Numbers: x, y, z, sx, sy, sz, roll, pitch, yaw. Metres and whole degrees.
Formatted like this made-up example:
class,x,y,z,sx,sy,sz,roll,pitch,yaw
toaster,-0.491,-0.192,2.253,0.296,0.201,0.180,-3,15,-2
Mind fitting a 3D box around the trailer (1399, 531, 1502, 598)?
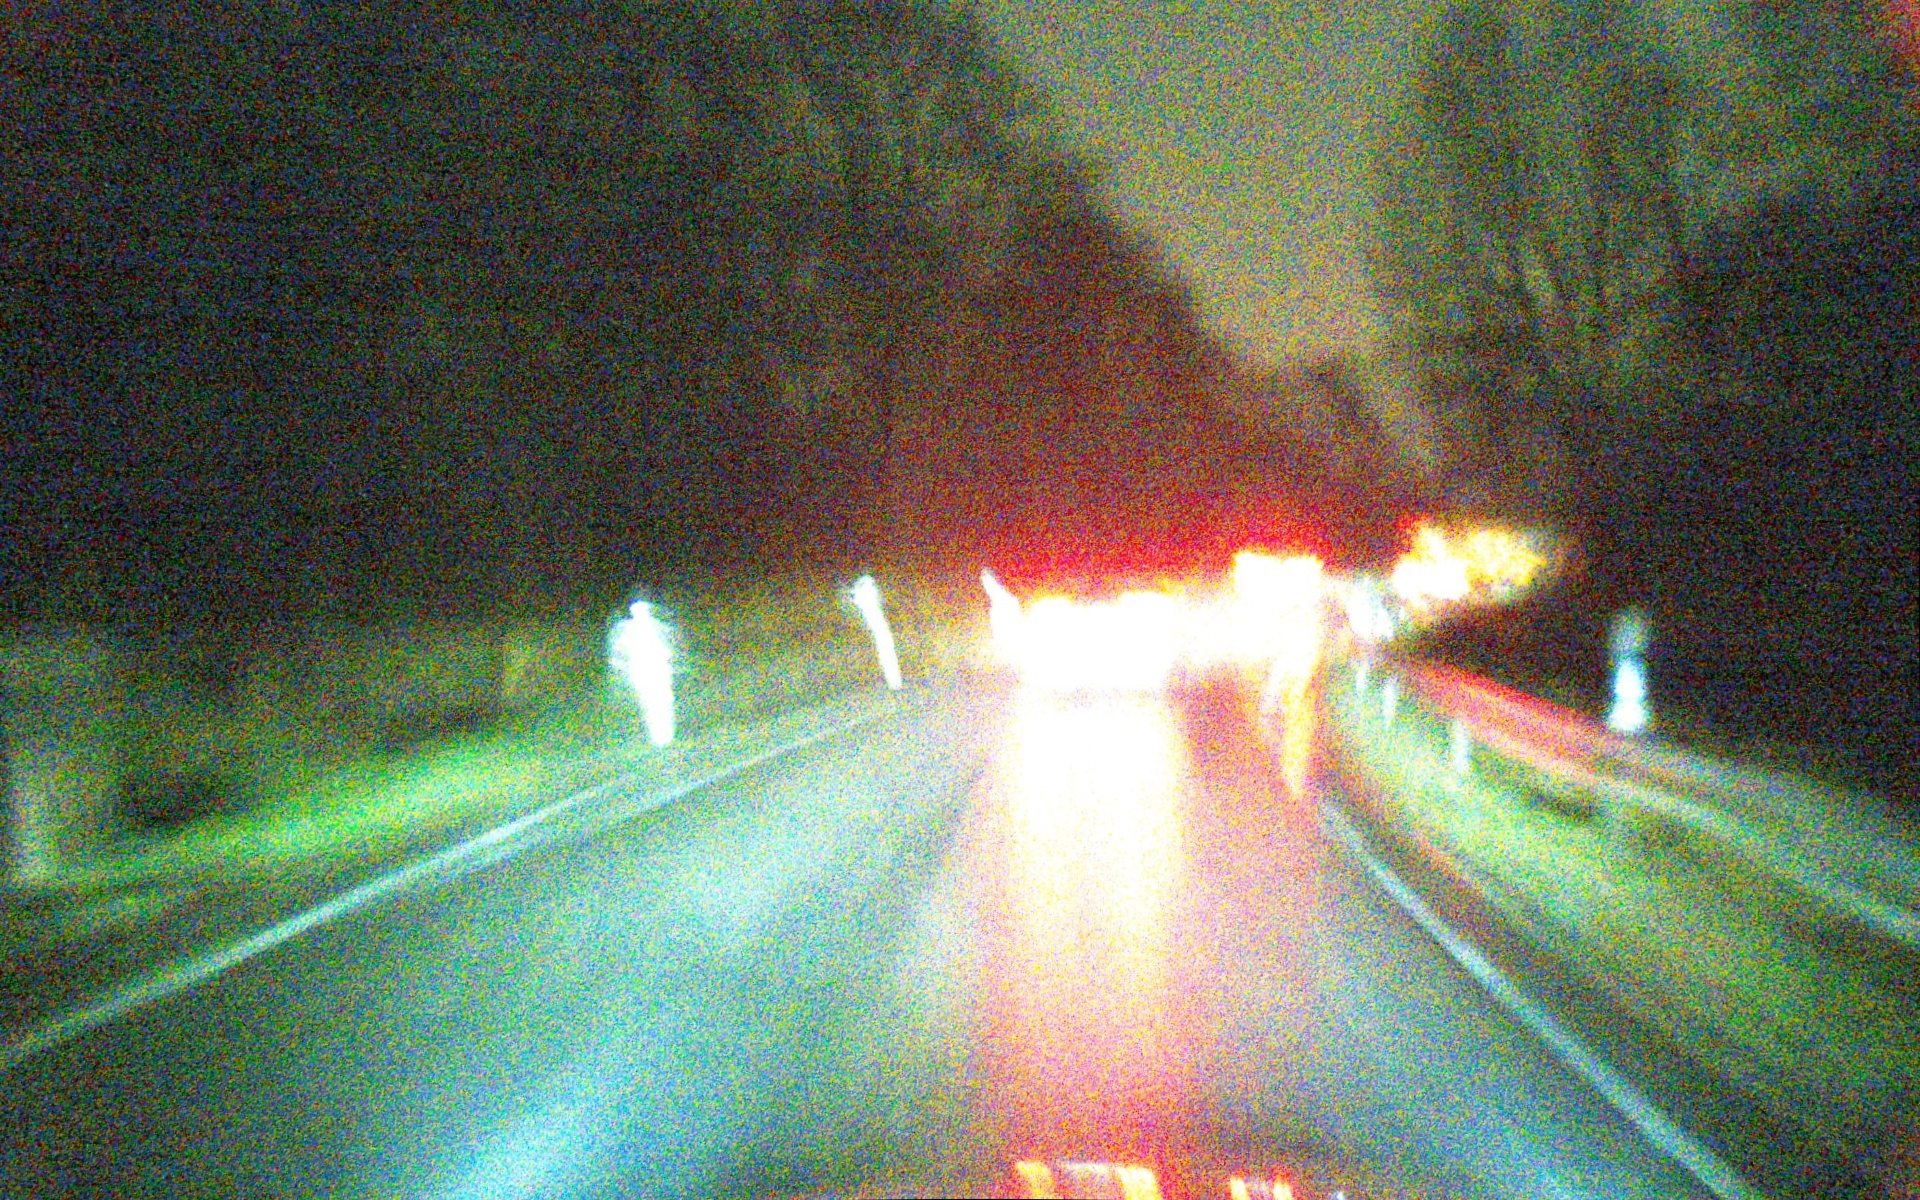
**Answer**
class,x,y,z,sx,sy,sz,roll,pitch,yaw
trailer,17.993,-1.197,60.234,2.037,2.049,10.640,-3,-2,24
